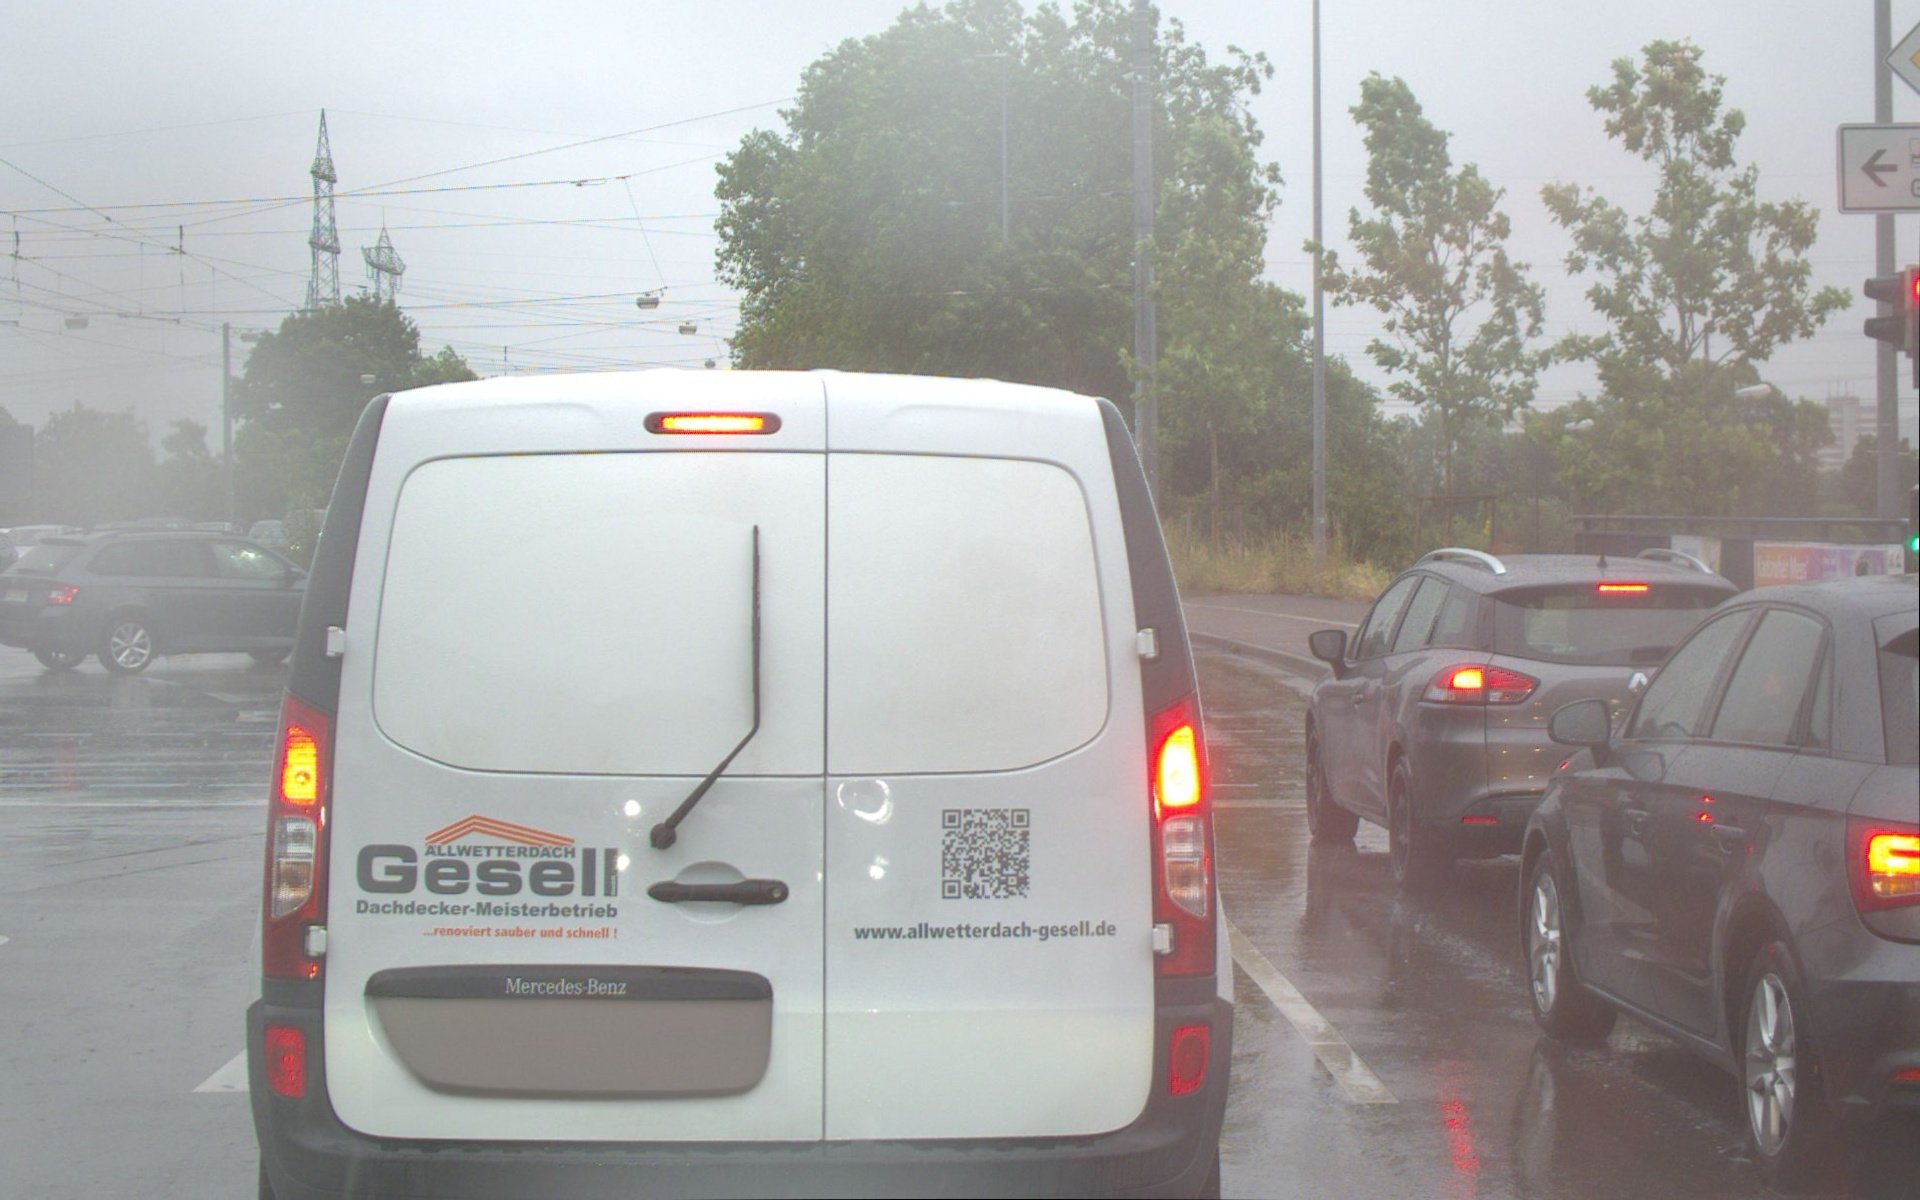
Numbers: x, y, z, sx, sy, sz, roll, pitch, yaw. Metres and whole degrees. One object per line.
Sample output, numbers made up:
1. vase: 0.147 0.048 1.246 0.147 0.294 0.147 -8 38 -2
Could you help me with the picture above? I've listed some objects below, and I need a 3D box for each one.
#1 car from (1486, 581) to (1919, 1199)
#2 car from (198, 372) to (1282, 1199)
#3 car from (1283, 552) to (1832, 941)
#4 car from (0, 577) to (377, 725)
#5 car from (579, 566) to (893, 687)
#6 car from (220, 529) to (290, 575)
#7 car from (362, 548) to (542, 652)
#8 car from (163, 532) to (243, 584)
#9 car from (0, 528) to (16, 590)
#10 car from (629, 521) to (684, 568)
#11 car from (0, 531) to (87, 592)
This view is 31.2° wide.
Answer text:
1. car: 2.532 0.639 8.936 1.597 1.362 3.631 -1 0 -3
2. car: -0.501 0.447 7.699 1.754 1.744 4.170 1 2 -4
3. car: 2.548 0.554 15.560 1.684 1.503 3.921 1 1 -1
4. car: -8.105 0.500 35.654 3.786 1.393 1.535 0 3 -41
5. car: -2.918 0.365 45.264 3.913 1.393 1.535 3 1 -40
6. car: -23.146 -1.574 112.919 1.559 1.421 3.569 2 0 -1
7. car: -7.461 -0.014 50.728 1.646 1.393 3.453 4 1 8
8. car: -22.277 -1.218 101.256 1.559 1.421 3.569 2 0 -1
9. car: -22.531 -0.958 77.410 1.559 1.421 3.569 2 0 -1
10. car: -11.490 -2.088 130.314 1.947 1.656 4.465 2 0 -4
11. car: -22.550 -0.935 83.899 1.559 1.421 3.569 2 0 -1
